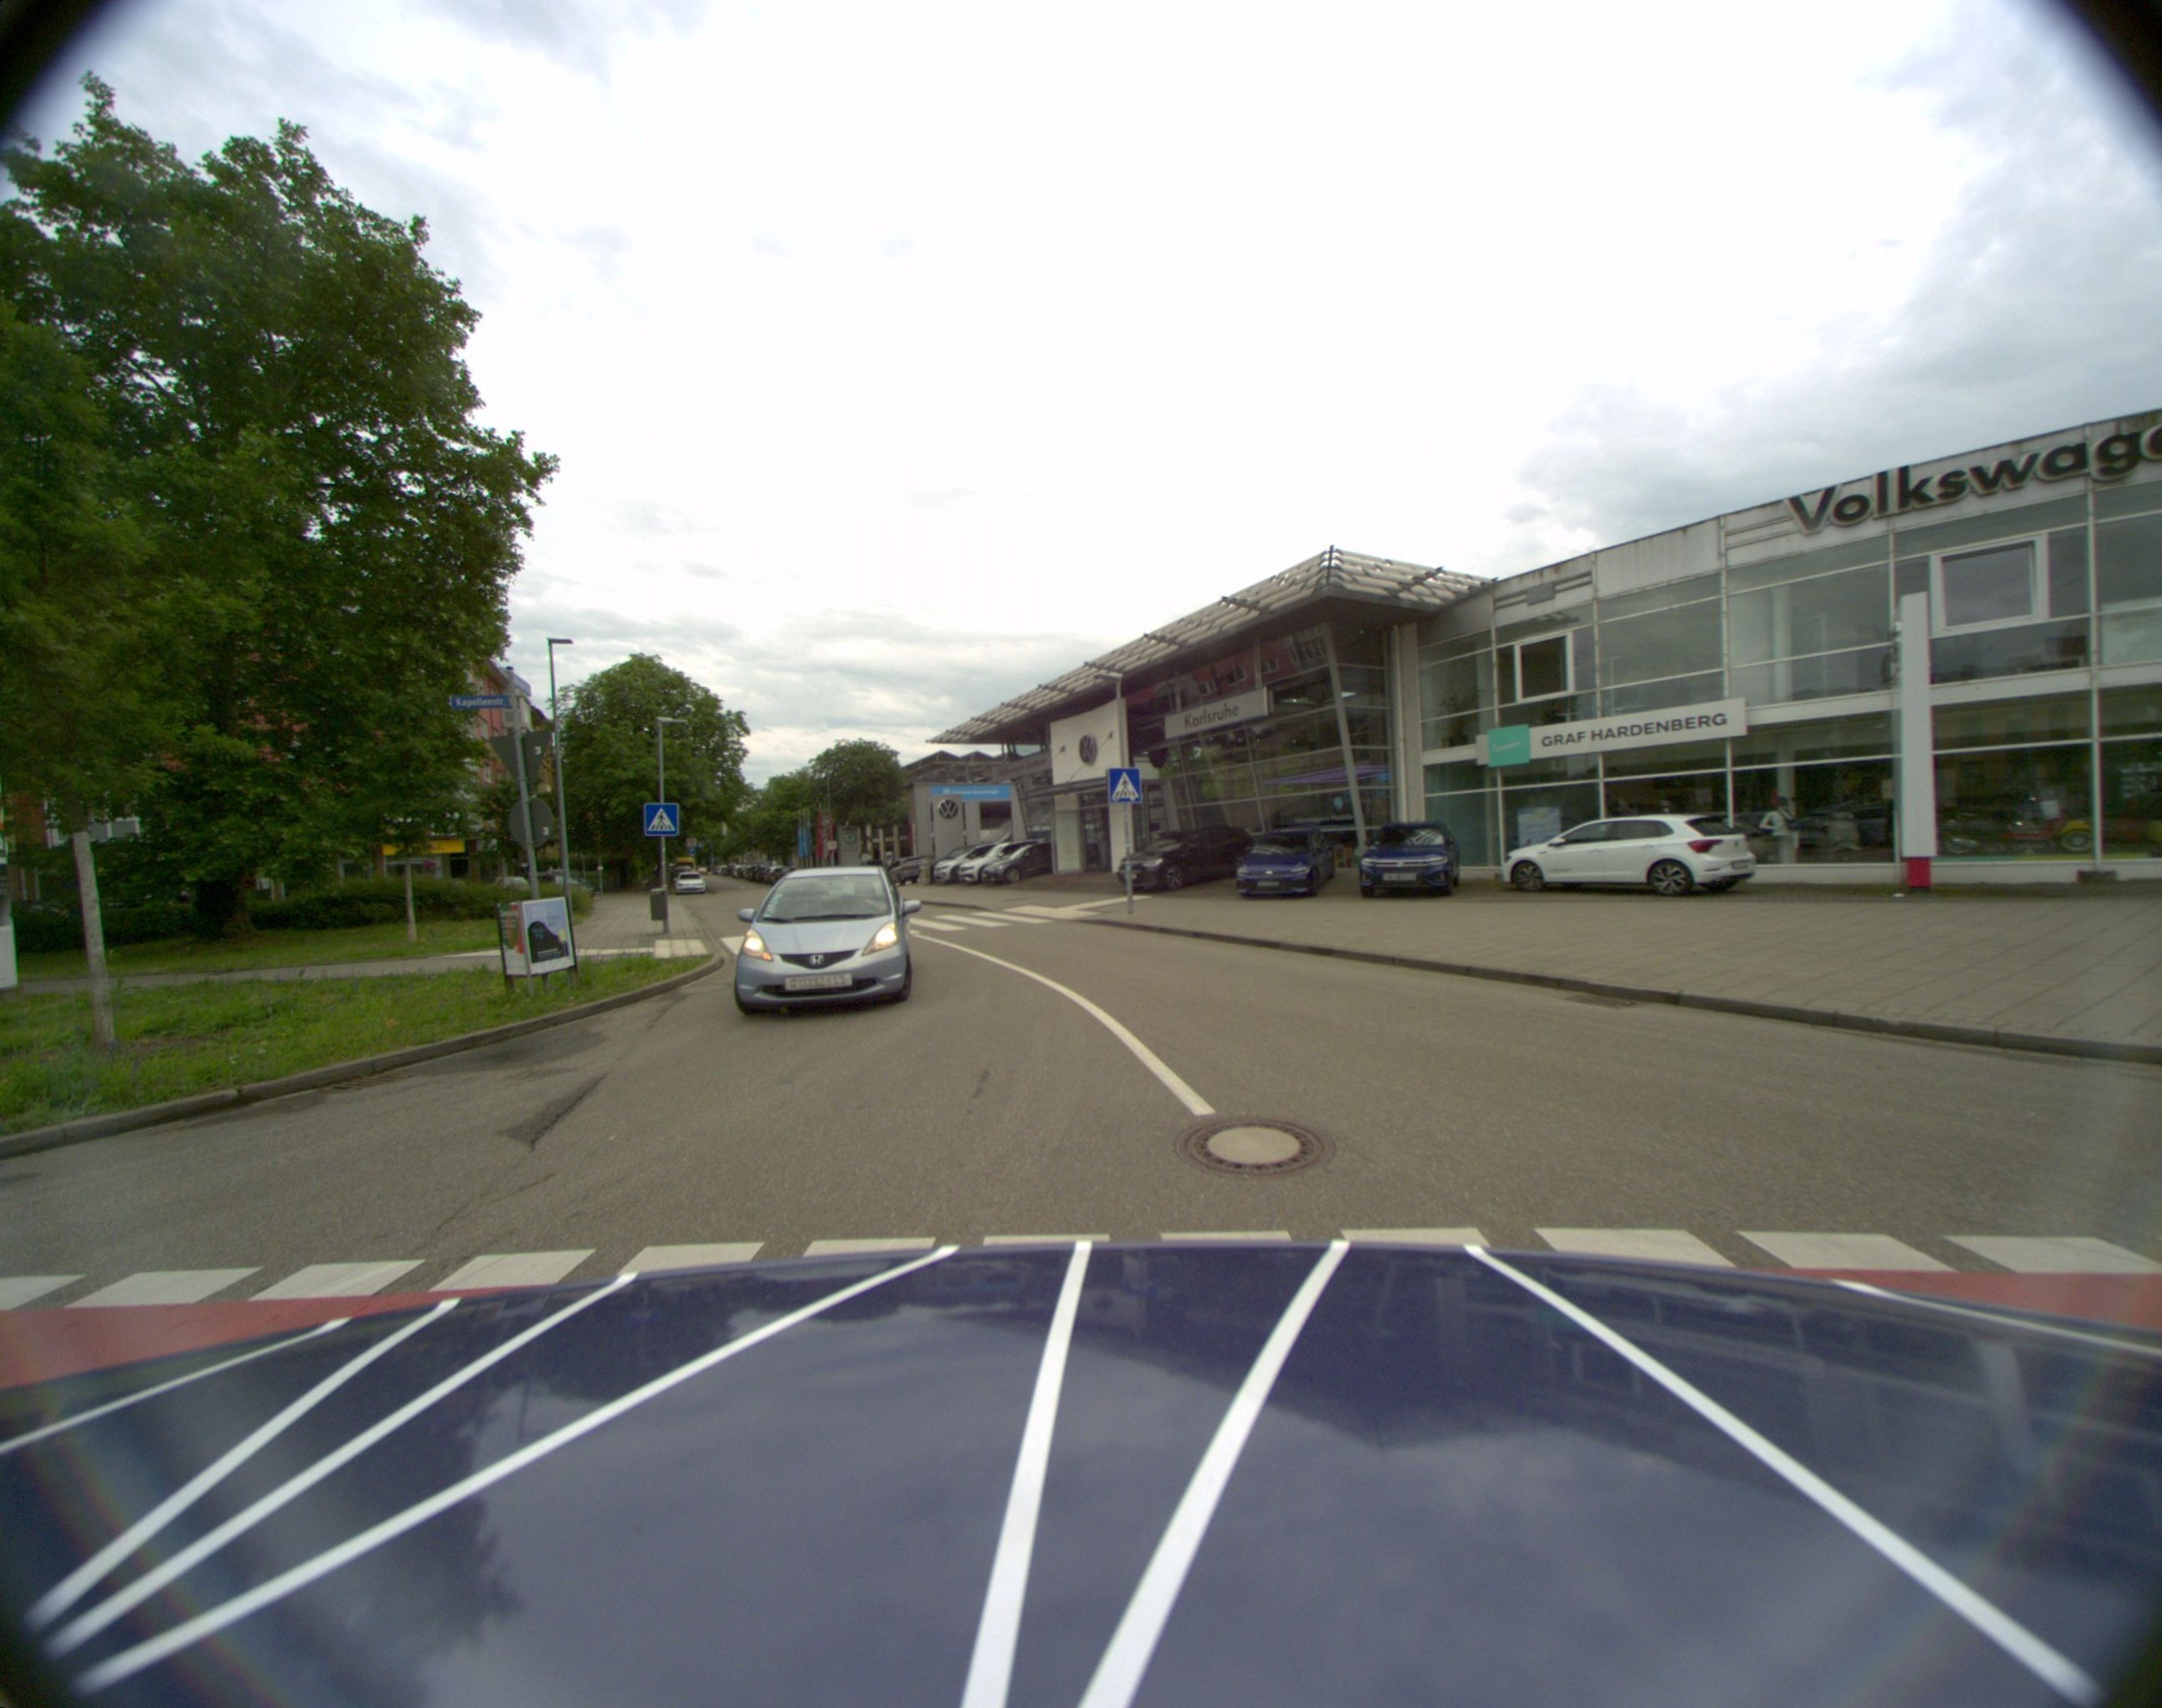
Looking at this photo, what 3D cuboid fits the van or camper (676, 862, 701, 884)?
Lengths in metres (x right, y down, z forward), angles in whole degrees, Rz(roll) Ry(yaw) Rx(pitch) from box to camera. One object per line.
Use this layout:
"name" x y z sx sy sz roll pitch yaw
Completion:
"van or camper" -38.797 1.869 75.004 2.002 2.002 3.991 -4 1 -28

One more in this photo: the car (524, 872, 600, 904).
"car" -28.742 1.861 42.049 4.463 1.539 1.864 -1 2 33

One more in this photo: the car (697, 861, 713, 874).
"car" -64.952 2.274 131.199 2.026 1.975 4.771 -5 2 -31

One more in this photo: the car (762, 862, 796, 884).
"car" -25.744 1.578 64.623 1.863 1.614 4.465 -5 2 -31

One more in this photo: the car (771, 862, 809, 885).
"car" -22.864 1.517 59.553 1.863 1.614 4.465 -5 2 -31

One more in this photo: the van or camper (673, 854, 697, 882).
"van or camper" -41.211 1.431 79.079 2.002 2.756 3.991 -4 1 -28

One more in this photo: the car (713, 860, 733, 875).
"car" -52.665 1.968 111.836 2.026 1.975 4.771 -5 2 -31

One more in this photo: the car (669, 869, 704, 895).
"car" -26.169 1.821 50.297 1.864 1.539 4.465 -2 1 -30

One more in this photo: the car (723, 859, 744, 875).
"car" -48.937 1.837 106.927 2.026 1.975 4.771 -5 2 -31

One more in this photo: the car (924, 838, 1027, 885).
"car" -5.134 0.357 37.141 4.480 1.690 1.866 -8 3 -29

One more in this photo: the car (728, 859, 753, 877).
"car" -42.063 1.728 93.751 2.026 1.975 4.771 -5 2 -31

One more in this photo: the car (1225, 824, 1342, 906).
"car" 5.082 0.182 18.597 1.854 1.496 4.343 -3 4 26

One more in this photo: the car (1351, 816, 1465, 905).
"car" 7.339 0.066 16.790 1.897 1.554 4.226 -3 3 28

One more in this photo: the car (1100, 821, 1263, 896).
"car" 3.006 0.100 22.307 4.515 1.623 1.857 -8 3 -35

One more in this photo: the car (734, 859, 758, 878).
"car" -39.202 1.663 88.778 1.863 1.975 4.465 -5 2 -31

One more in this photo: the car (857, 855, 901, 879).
"car" -15.140 0.939 56.732 1.901 1.539 4.465 -5 2 -31

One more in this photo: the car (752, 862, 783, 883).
"car" -28.527 1.653 69.056 1.863 1.614 4.465 -5 2 -31

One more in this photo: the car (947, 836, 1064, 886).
"car" -3.401 0.301 34.631 4.780 1.690 1.857 -8 3 -29

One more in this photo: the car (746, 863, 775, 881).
"car" -30.924 1.705 73.246 1.863 1.614 4.465 -5 2 -31

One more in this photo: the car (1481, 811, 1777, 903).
"car" 10.245 0.053 14.613 1.785 1.444 4.254 -3 1 -26

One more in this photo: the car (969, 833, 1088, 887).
"car" -2.194 0.247 32.188 4.480 1.687 1.893 -8 3 -29

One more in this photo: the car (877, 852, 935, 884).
"car" -9.926 0.822 42.886 1.922 1.554 4.005 -5 1 -31

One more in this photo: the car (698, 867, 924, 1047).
"car" -2.942 0.995 9.201 1.755 1.458 4.094 -3 1 -9
